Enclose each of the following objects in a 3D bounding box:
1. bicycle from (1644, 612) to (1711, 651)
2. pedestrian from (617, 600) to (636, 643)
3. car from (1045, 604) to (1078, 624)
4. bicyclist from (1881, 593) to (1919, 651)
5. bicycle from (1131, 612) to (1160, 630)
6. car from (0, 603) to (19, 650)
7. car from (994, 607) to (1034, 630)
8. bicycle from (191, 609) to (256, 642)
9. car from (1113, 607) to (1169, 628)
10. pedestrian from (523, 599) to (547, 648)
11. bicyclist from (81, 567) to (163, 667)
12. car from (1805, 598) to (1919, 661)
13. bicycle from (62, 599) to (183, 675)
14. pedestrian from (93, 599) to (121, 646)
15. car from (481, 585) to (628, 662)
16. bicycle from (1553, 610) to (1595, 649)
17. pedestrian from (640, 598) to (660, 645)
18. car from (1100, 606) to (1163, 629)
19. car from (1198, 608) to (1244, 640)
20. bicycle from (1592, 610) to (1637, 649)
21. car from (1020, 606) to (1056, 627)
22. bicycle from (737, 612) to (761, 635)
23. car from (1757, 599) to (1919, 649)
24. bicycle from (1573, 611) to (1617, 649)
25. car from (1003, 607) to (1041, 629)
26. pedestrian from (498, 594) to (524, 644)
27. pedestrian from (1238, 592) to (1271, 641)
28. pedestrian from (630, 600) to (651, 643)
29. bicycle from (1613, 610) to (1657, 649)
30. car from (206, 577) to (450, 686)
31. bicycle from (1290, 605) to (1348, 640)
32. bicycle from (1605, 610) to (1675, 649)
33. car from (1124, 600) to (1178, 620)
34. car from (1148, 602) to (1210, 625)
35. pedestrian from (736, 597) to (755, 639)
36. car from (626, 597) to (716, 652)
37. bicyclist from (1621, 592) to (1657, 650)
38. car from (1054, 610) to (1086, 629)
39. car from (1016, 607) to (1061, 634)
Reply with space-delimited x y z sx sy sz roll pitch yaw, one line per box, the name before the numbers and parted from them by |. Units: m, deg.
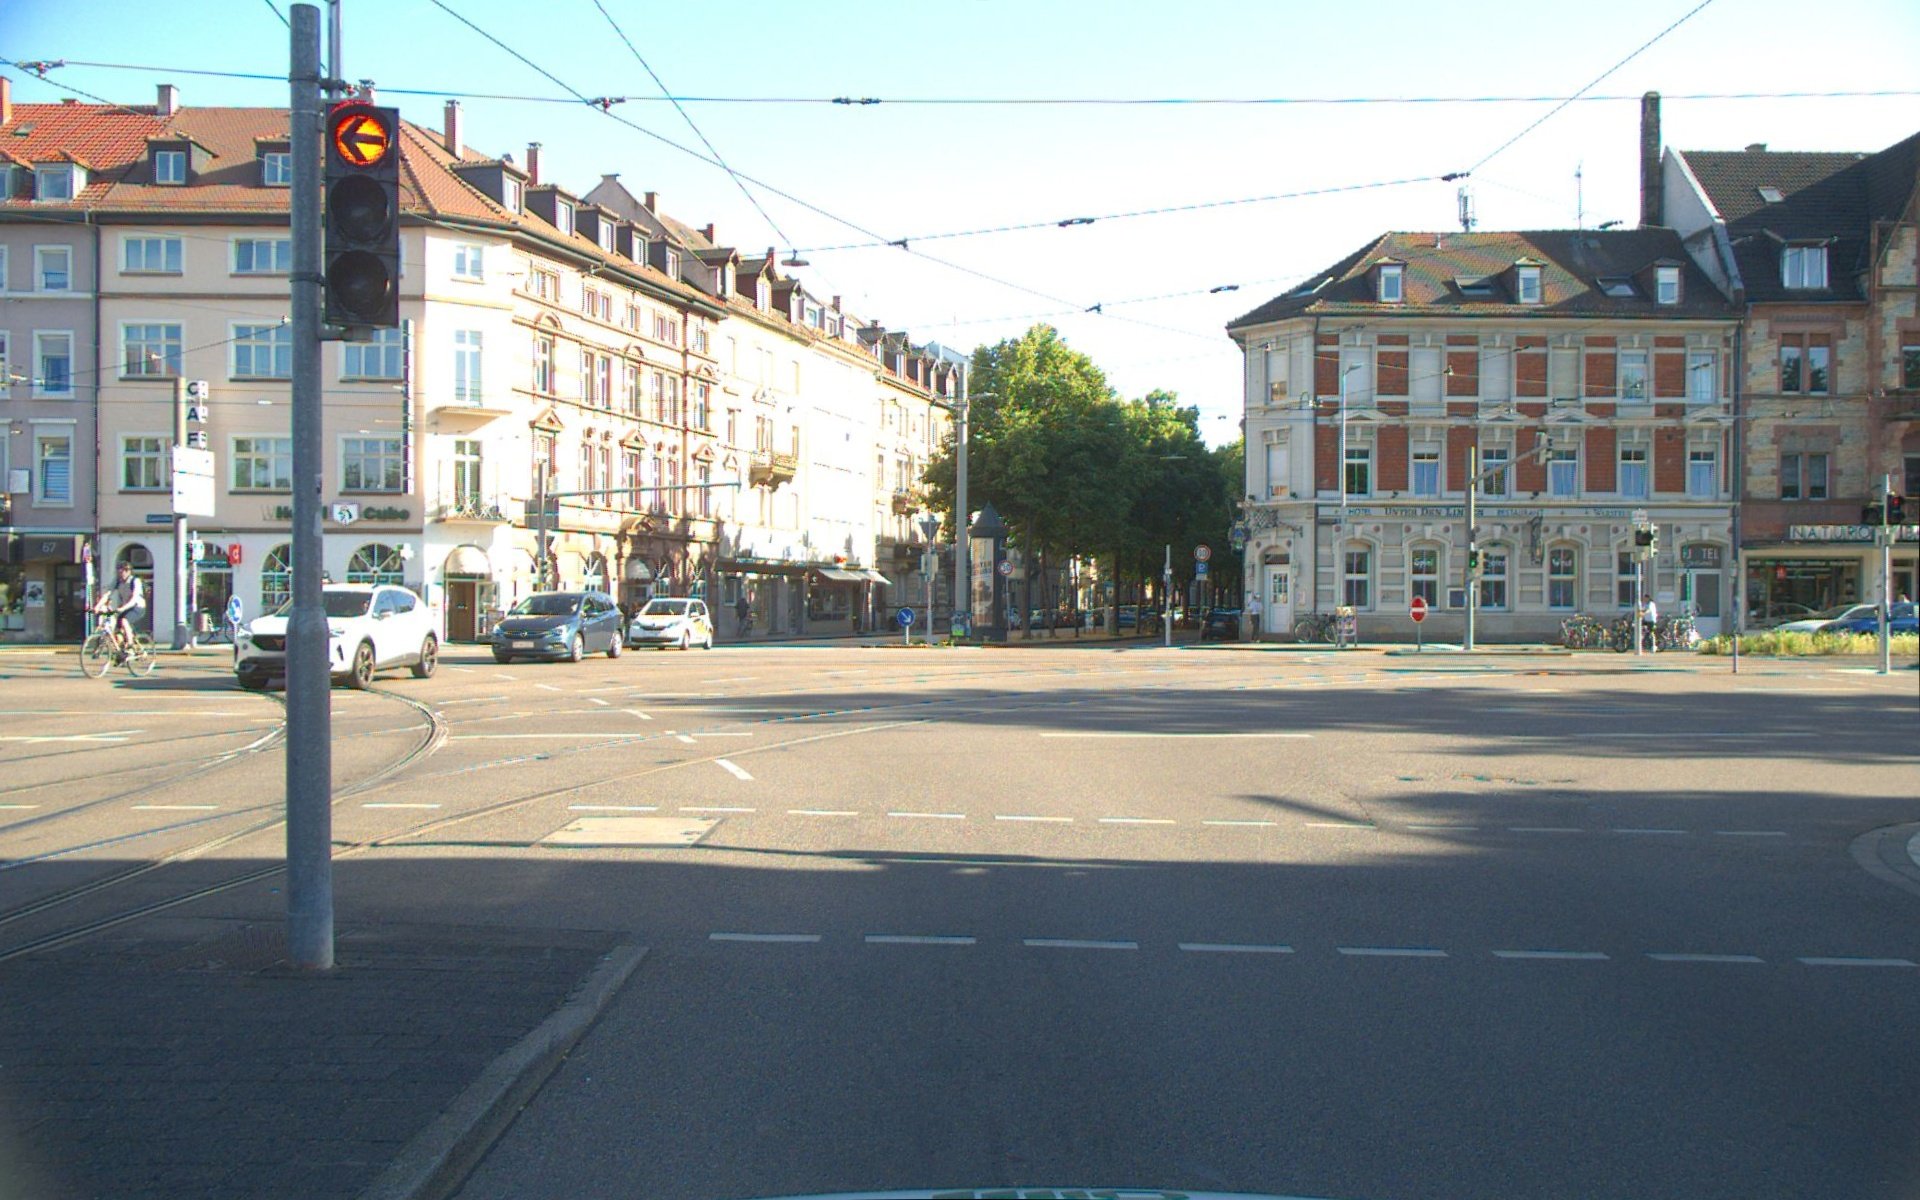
bicycle | 23.037 1.004 53.112 1.926 1.211 0.677 0 0 -13
pedestrian | -13.060 0.837 64.753 0.539 1.670 0.538 0 0 19
car | 8.131 1.091 131.863 1.951 1.523 4.037 0 0 13
bicyclist | 29.424 0.691 51.763 0.885 1.795 0.601 0 0 -5
bicycle | 11.157 1.270 99.393 0.577 1.086 1.924 0 0 -37
car | -32.484 0.831 52.139 4.547 1.465 1.743 0 -1 -4
car | 3.697 1.233 112.903 1.951 1.523 4.037 0 0 13
bicycle | -25.017 0.859 56.180 1.906 1.086 0.582 0 0 -8
car | 14.062 1.325 128.491 3.910 1.572 1.998 0 0 28
pedestrian | -14.641 0.792 56.982 0.617 1.670 0.553 0 0 13
bicyclist | -13.632 0.267 26.915 0.699 1.587 0.987 0 0 17
car | 25.909 0.796 45.942 3.906 1.697 1.954 0 0 -2
bicycle | -13.619 0.584 26.973 0.475 1.186 2.057 0 0 17
pedestrian | -28.366 0.747 55.015 0.645 1.551 0.694 0 0 -9
car | -8.539 0.458 35.194 1.736 1.523 4.575 0 0 4
bicycle | 19.826 0.930 53.443 0.663 1.211 1.967 0 0 0
pedestrian | -12.340 0.838 65.905 0.567 1.868 0.633 0 0 15
car | 12.026 1.247 115.822 3.910 1.572 1.998 0 0 28
car | 13.067 1.165 82.589 1.951 1.523 4.037 0 0 13
bicycle | 21.153 0.940 53.490 0.663 1.211 1.967 0 0 0
car | 5.788 1.194 122.657 1.951 1.523 4.037 0 0 13
bicycle | -10.138 1.132 79.374 0.484 1.086 1.771 0 0 15
car | 25.961 0.707 48.939 3.906 1.437 1.845 0 0 -2
bicycle | 20.515 0.957 53.479 0.663 1.211 1.967 0 0 0
car | 4.443 1.265 117.401 1.951 1.523 4.037 0 0 13
pedestrian | -15.071 0.642 55.498 0.661 1.670 0.579 0 0 13
pedestrian | 10.444 0.573 58.578 0.923 1.699 0.713 0 0 44
pedestrian | -12.481 0.843 64.619 0.539 1.670 0.633 0 0 19
bicycle | 21.816 0.947 53.492 0.663 1.211 1.967 0 0 0
car | -9.505 0.430 25.280 1.952 1.523 4.348 0 0 2
bicycle | 12.452 0.772 57.346 1.919 1.211 0.546 0 0 4
bicycle | 21.056 0.906 51.231 1.920 1.211 0.602 0 0 2
car | 15.537 0.800 134.608 3.910 1.572 1.998 0 0 28
car | 15.427 0.954 116.600 3.913 1.572 1.996 0 0 30
pedestrian | -9.913 0.832 76.307 0.667 1.942 0.633 0 0 15
car | -8.237 0.669 47.441 1.681 1.523 3.586 0 0 5
bicyclist | 21.027 0.651 51.228 0.854 1.795 0.602 0 0 2
car | 9.106 1.614 136.639 1.951 1.523 4.037 0 0 13
car | 4.660 1.185 97.391 1.951 1.523 4.037 0 0 13
